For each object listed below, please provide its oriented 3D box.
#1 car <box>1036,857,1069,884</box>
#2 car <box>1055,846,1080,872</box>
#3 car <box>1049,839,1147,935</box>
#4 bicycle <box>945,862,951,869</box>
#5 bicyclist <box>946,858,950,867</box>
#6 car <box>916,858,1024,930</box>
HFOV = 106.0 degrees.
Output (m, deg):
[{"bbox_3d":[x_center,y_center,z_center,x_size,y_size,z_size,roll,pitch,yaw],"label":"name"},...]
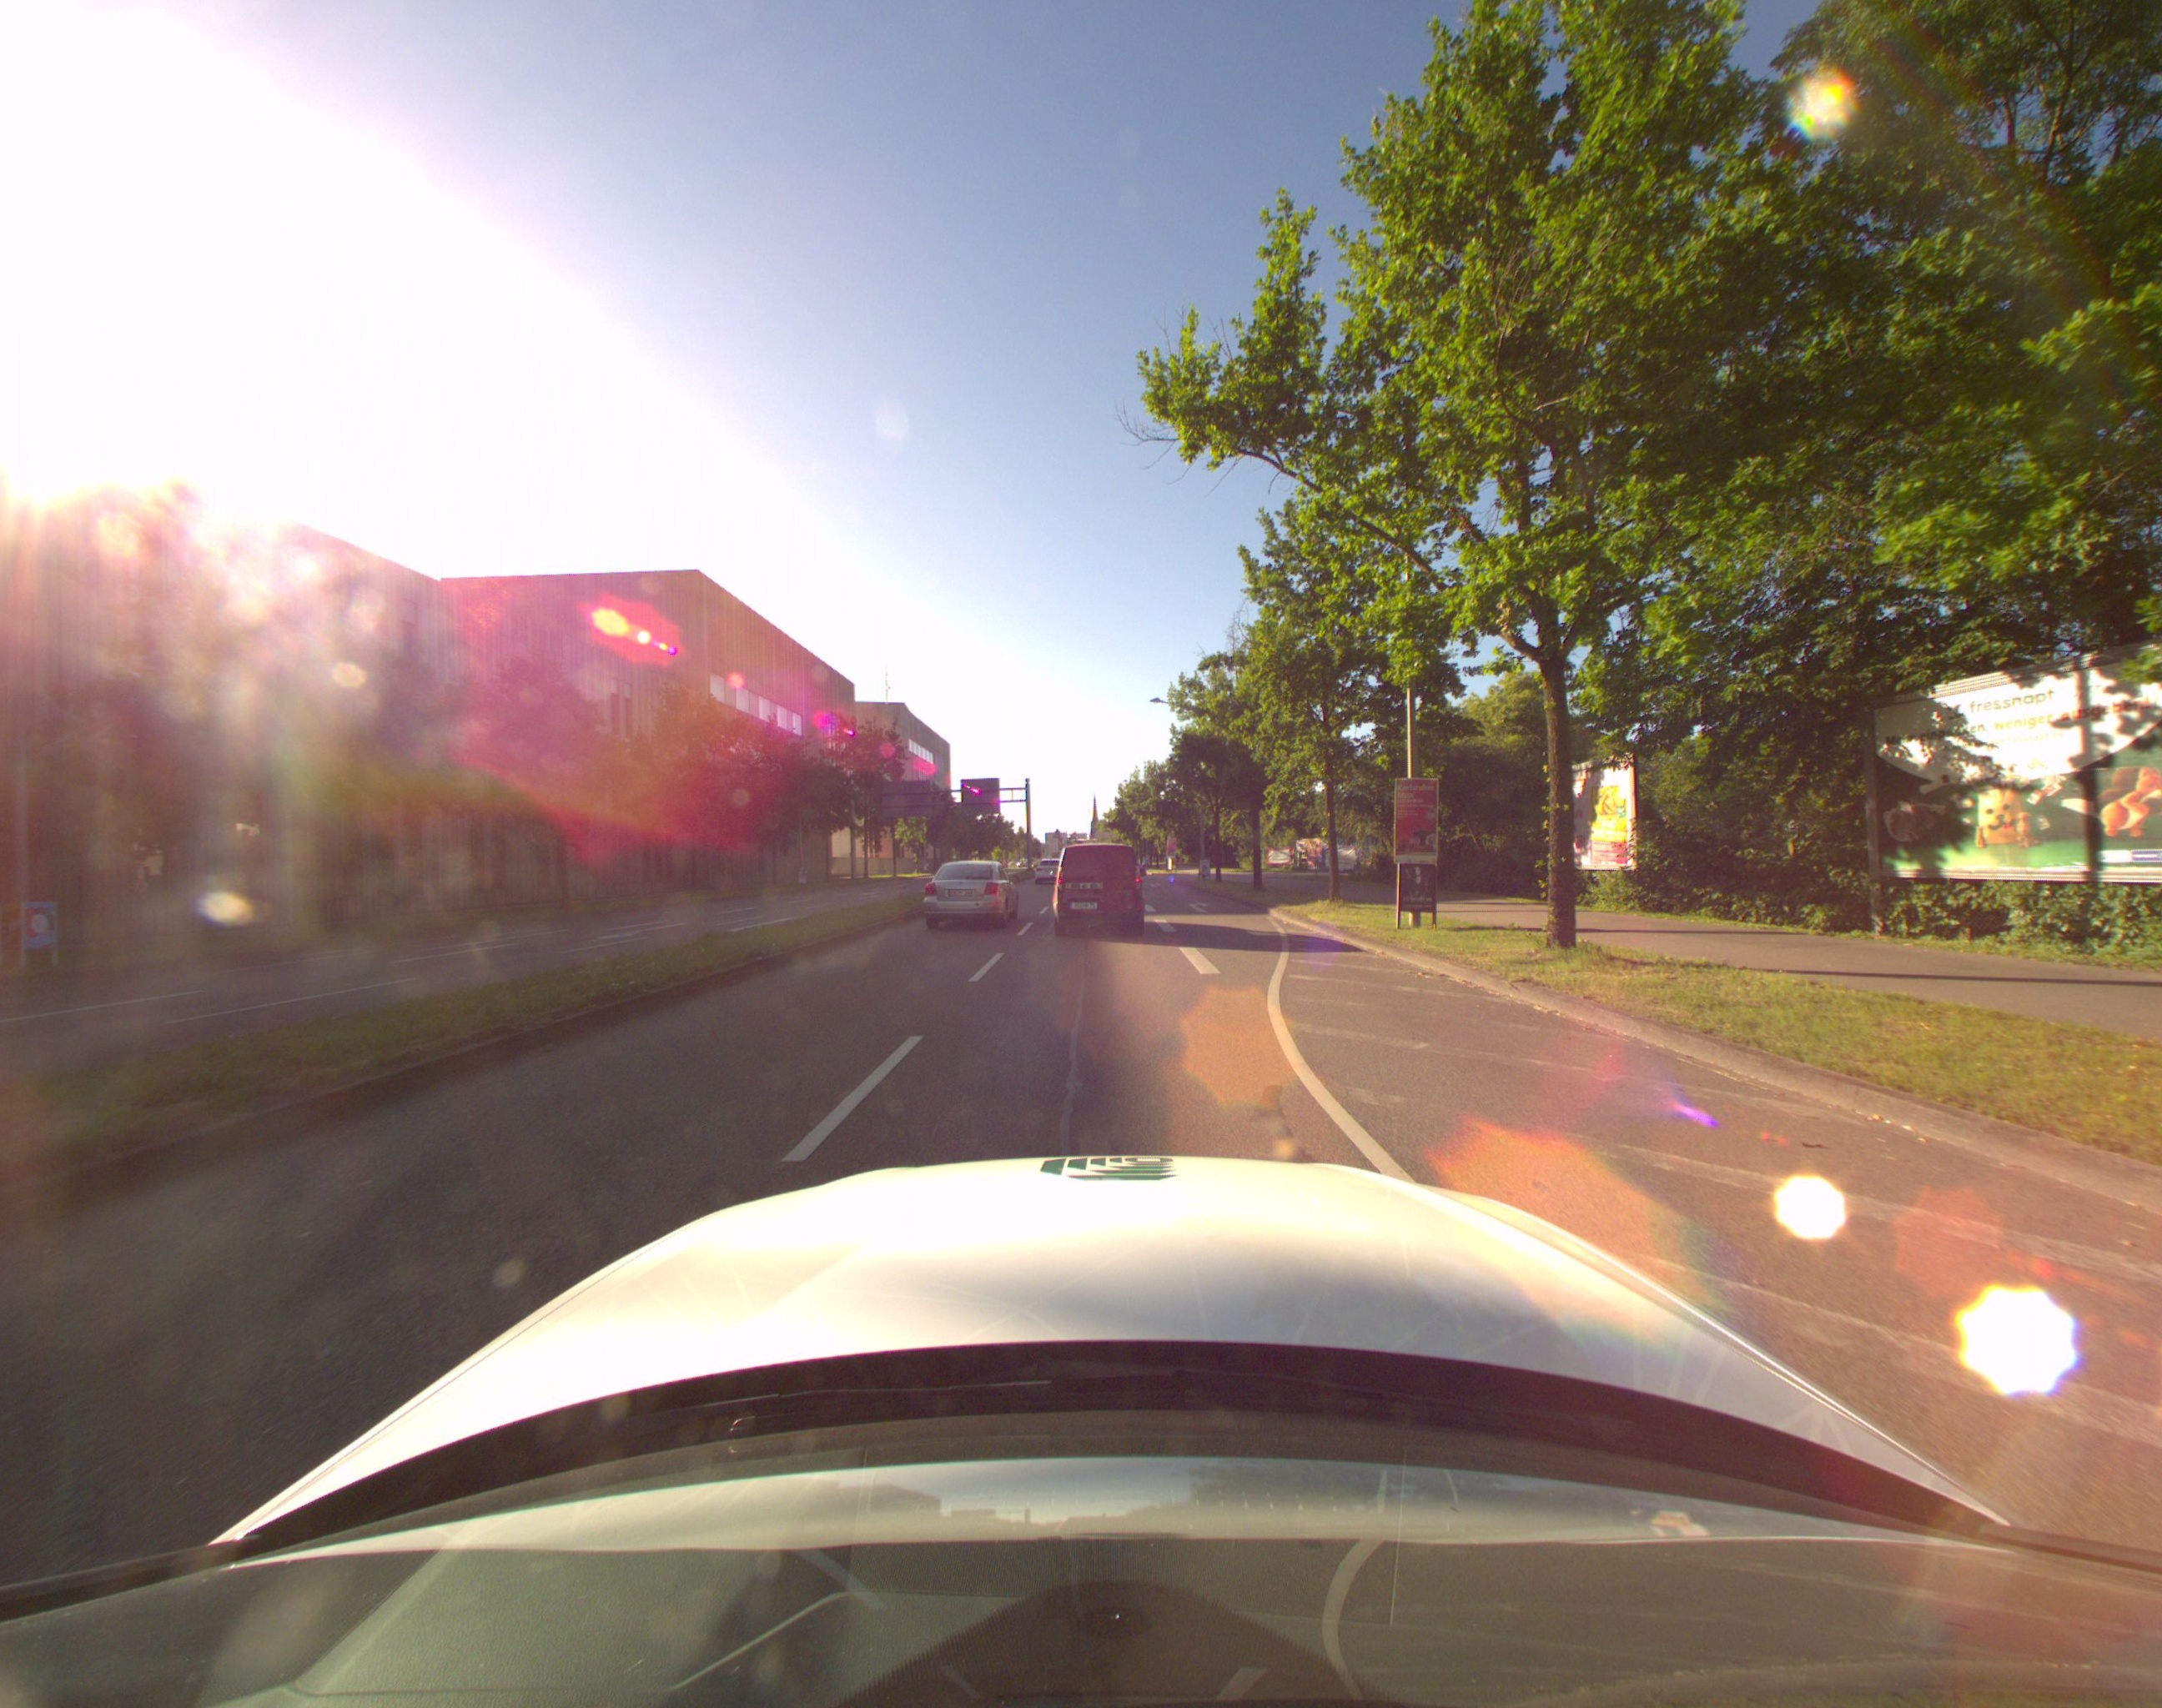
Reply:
[{"bbox_3d":[-1.605,0.905,46.445,1.656,1.398,3.559,-2,0,1],"label":"car"},{"bbox_3d":[-0.970,0.367,59.978,1.656,1.856,3.559,-2,0,1],"label":"car"},{"bbox_3d":[0.345,0.615,17.175,1.800,1.759,4.006,-1,0,1],"label":"car"},{"bbox_3d":[-21.576,1.887,132.224,0.568,1.003,2.096,-2,-1,0],"label":"bicycle"},{"bbox_3d":[-21.592,1.379,132.239,0.560,1.392,0.747,-2,-1,0],"label":"bicyclist"},{"bbox_3d":[-2.434,0.839,18.893,1.834,1.456,4.163,-1,0,1],"label":"car"}]
